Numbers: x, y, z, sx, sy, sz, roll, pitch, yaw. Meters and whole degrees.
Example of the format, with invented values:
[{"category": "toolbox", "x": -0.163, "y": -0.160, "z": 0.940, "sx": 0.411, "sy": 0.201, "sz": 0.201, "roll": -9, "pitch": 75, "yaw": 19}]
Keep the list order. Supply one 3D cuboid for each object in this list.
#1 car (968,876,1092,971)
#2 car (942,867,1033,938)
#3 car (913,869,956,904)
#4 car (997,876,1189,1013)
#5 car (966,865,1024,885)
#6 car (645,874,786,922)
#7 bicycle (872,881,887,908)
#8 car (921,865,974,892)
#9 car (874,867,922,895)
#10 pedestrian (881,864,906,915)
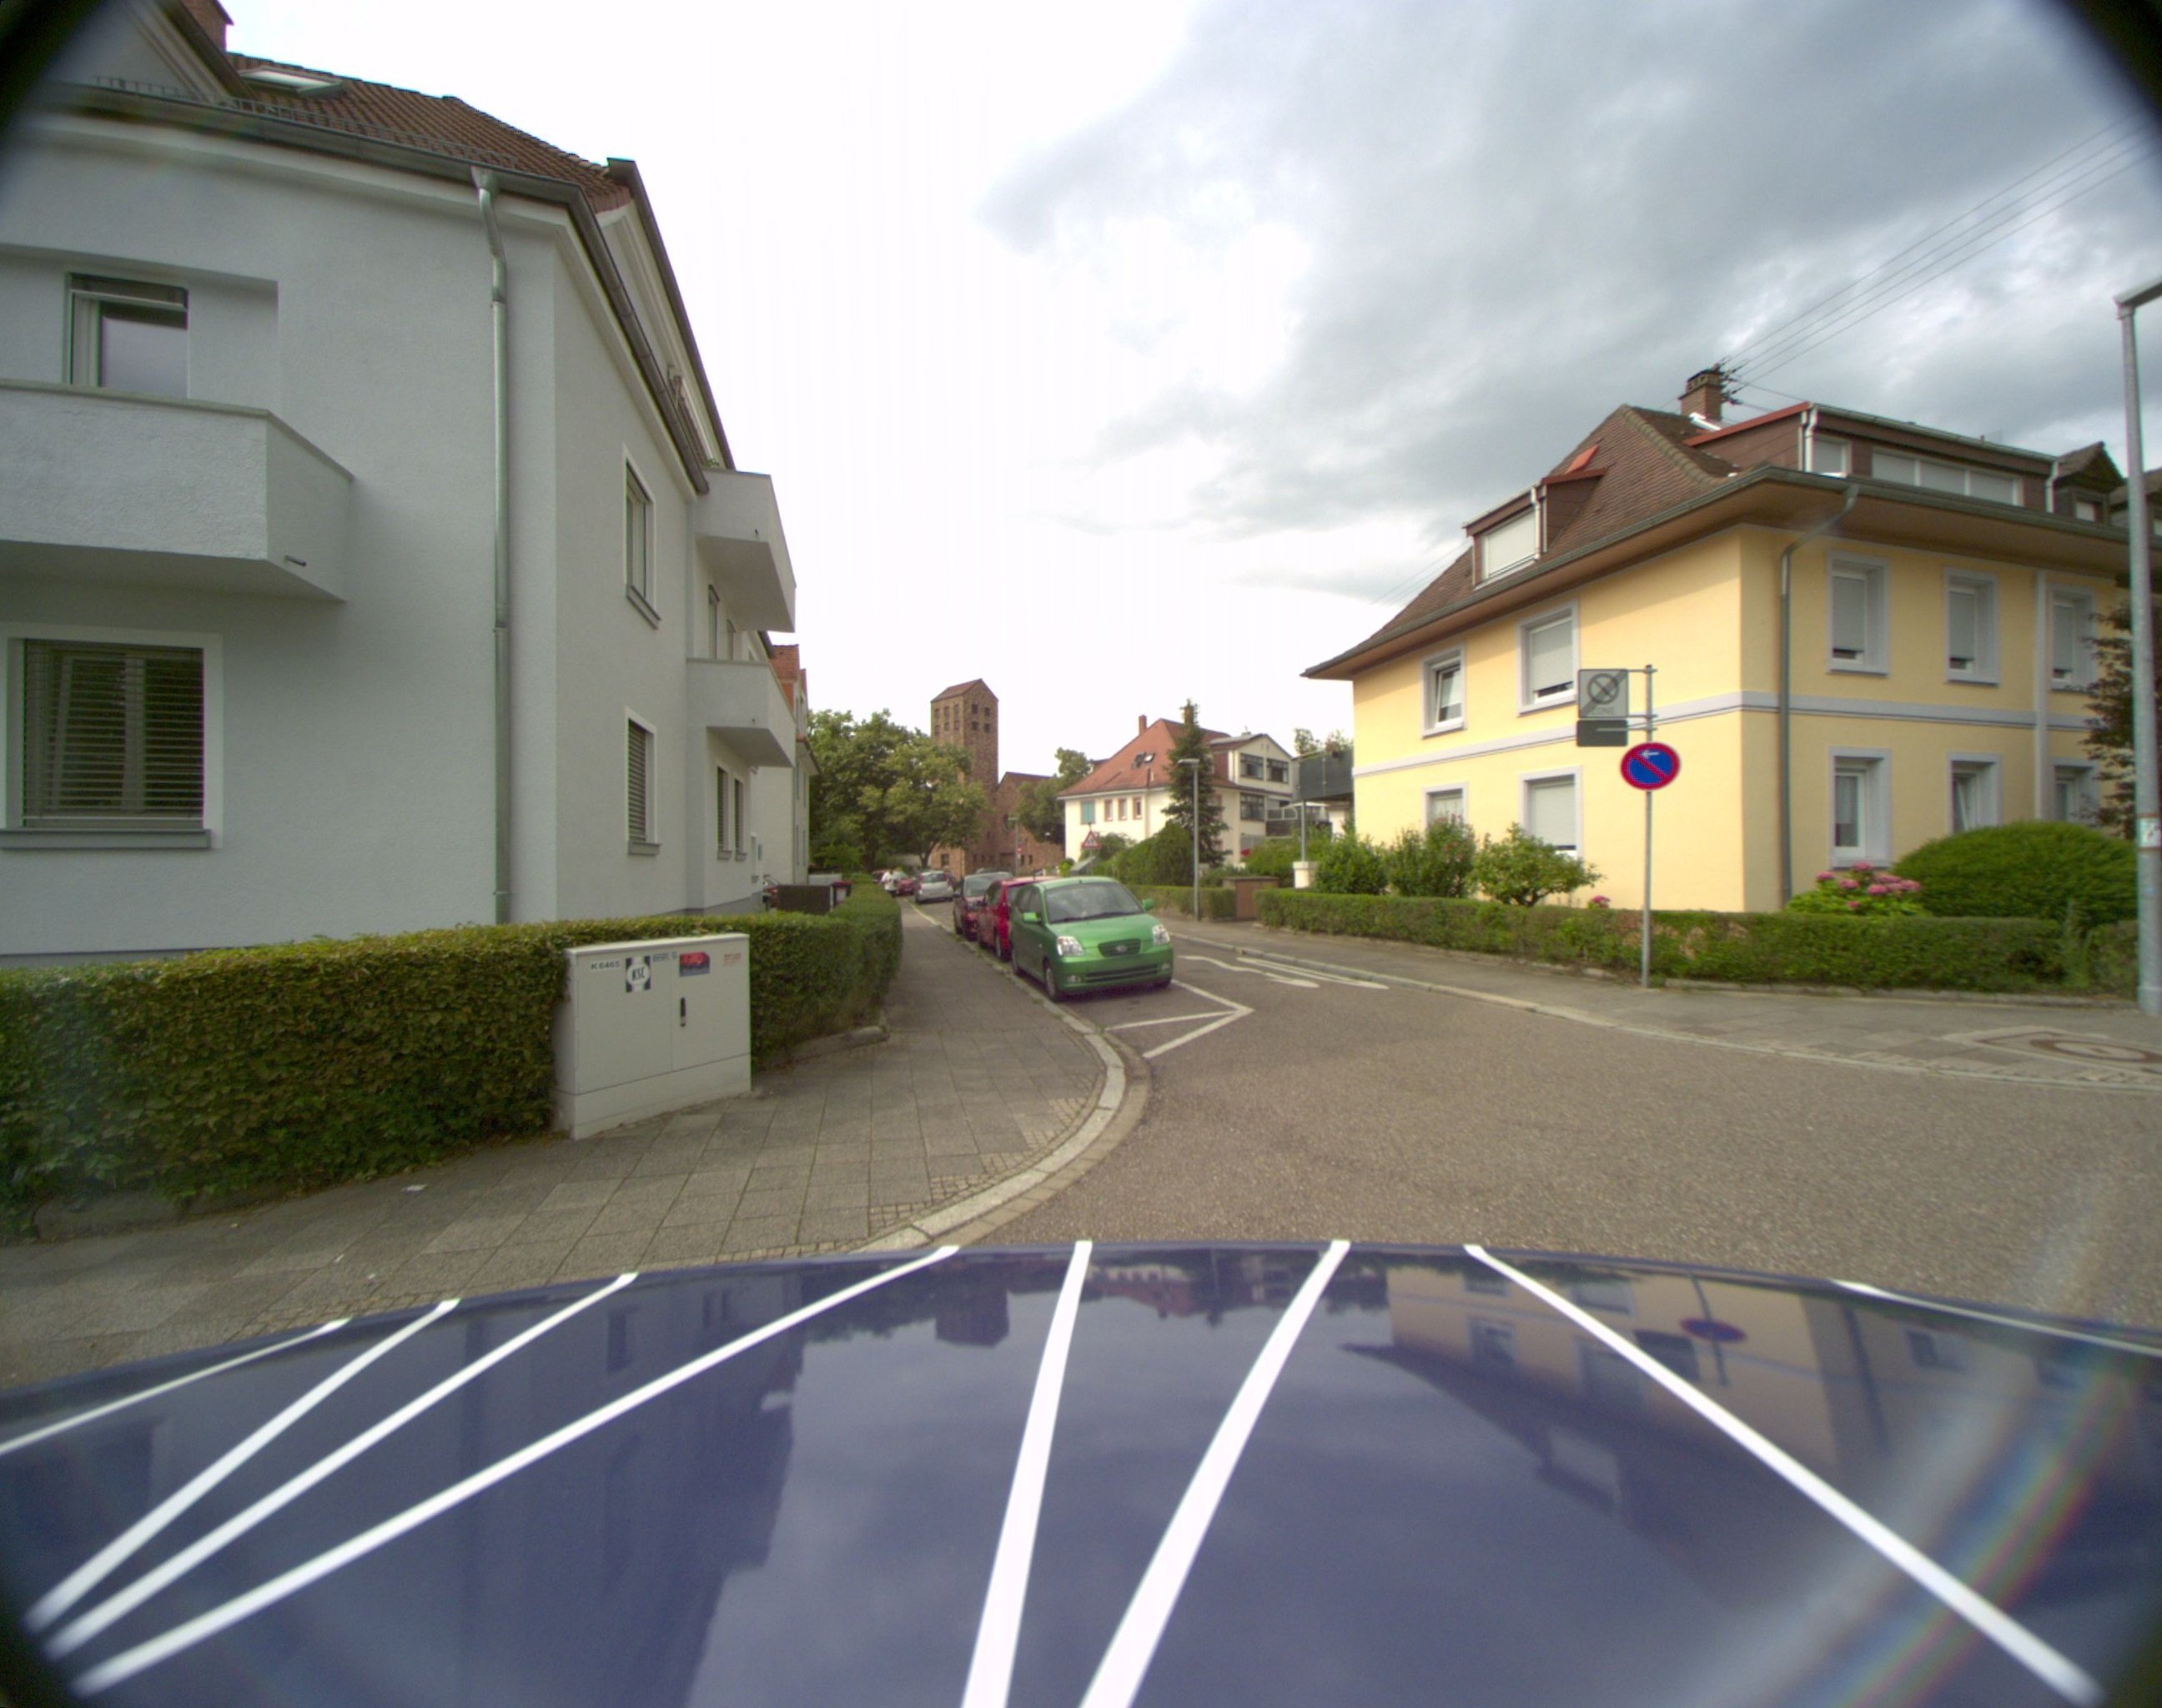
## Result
[{"category": "car", "x": -1.135, "y": 1.263, "z": 15.102, "sx": 1.652, "sy": 1.487, "sz": 3.477, "roll": -4, "pitch": 0, "yaw": -16}, {"category": "car", "x": -2.460, "y": 1.141, "z": 19.231, "sx": 1.652, "sy": 1.487, "sz": 3.477, "roll": -4, "pitch": 0, "yaw": -16}, {"category": "car", "x": -7.191, "y": 1.522, "z": 37.024, "sx": 1.652, "sy": 1.487, "sz": 3.477, "roll": -4, "pitch": 0, "yaw": -16}, {"category": "car", "x": -0.014, "y": 1.094, "z": 10.636, "sx": 1.652, "sy": 1.413, "sz": 3.477, "roll": -4, "pitch": 0, "yaw": -16}, {"category": "car", "x": -6.723, "y": 1.657, "z": 59.339, "sx": 4.230, "sy": 1.456, "sz": 1.681, "roll": 0, "pitch": 1, "yaw": -16}, {"category": "car", "x": -12.222, "y": 1.452, "z": 25.702, "sx": 4.002, "sy": 1.455, "sz": 1.998, "roll": 0, "pitch": -1, "yaw": -15}, {"category": "bicycle", "x": -8.745, "y": 1.746, "z": 32.977, "sx": 0.423, "sy": 1.097, "sz": 2.112, "roll": 0, "pitch": 0, "yaw": -20}, {"category": "car", "x": -8.605, "y": 1.602, "z": 48.695, "sx": 1.857, "sy": 1.472, "sz": 4.033, "roll": -7, "pitch": 1, "yaw": -31}, {"category": "car", "x": -11.009, "y": 1.601, "z": 45.620, "sx": 1.653, "sy": 1.487, "sz": 3.473, "roll": -4, "pitch": 1, "yaw": -33}, {"category": "pedestrian", "x": -7.122, "y": 1.329, "z": 28.813, "sx": 0.884, "sy": 1.867, "sz": 1.077, "roll": -1, "pitch": 0, "yaw": -15}]
